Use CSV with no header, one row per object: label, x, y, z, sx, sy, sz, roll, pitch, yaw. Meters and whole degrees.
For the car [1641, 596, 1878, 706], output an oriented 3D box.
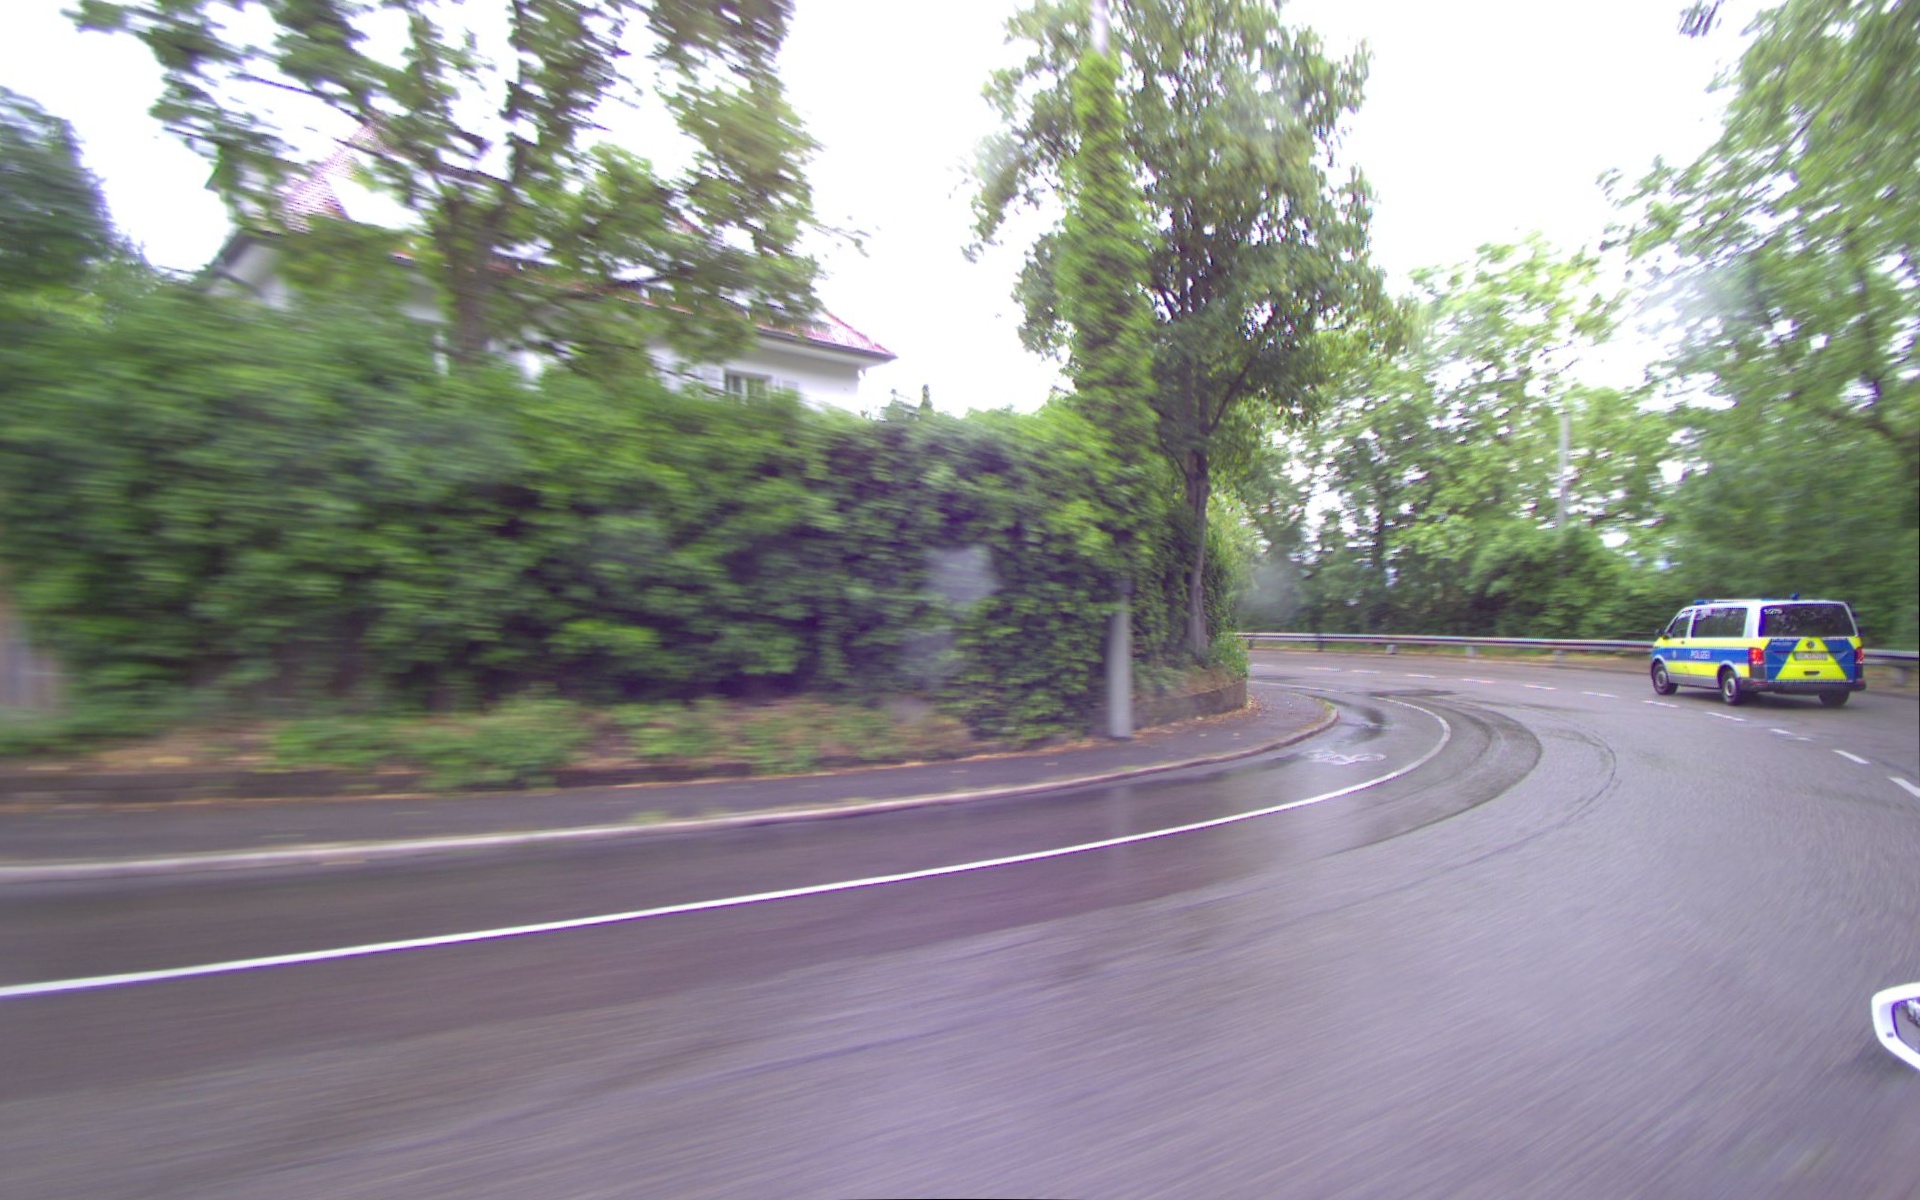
car,15.786,0.999,20.199,1.960,1.918,4.573,-2,-2,14
